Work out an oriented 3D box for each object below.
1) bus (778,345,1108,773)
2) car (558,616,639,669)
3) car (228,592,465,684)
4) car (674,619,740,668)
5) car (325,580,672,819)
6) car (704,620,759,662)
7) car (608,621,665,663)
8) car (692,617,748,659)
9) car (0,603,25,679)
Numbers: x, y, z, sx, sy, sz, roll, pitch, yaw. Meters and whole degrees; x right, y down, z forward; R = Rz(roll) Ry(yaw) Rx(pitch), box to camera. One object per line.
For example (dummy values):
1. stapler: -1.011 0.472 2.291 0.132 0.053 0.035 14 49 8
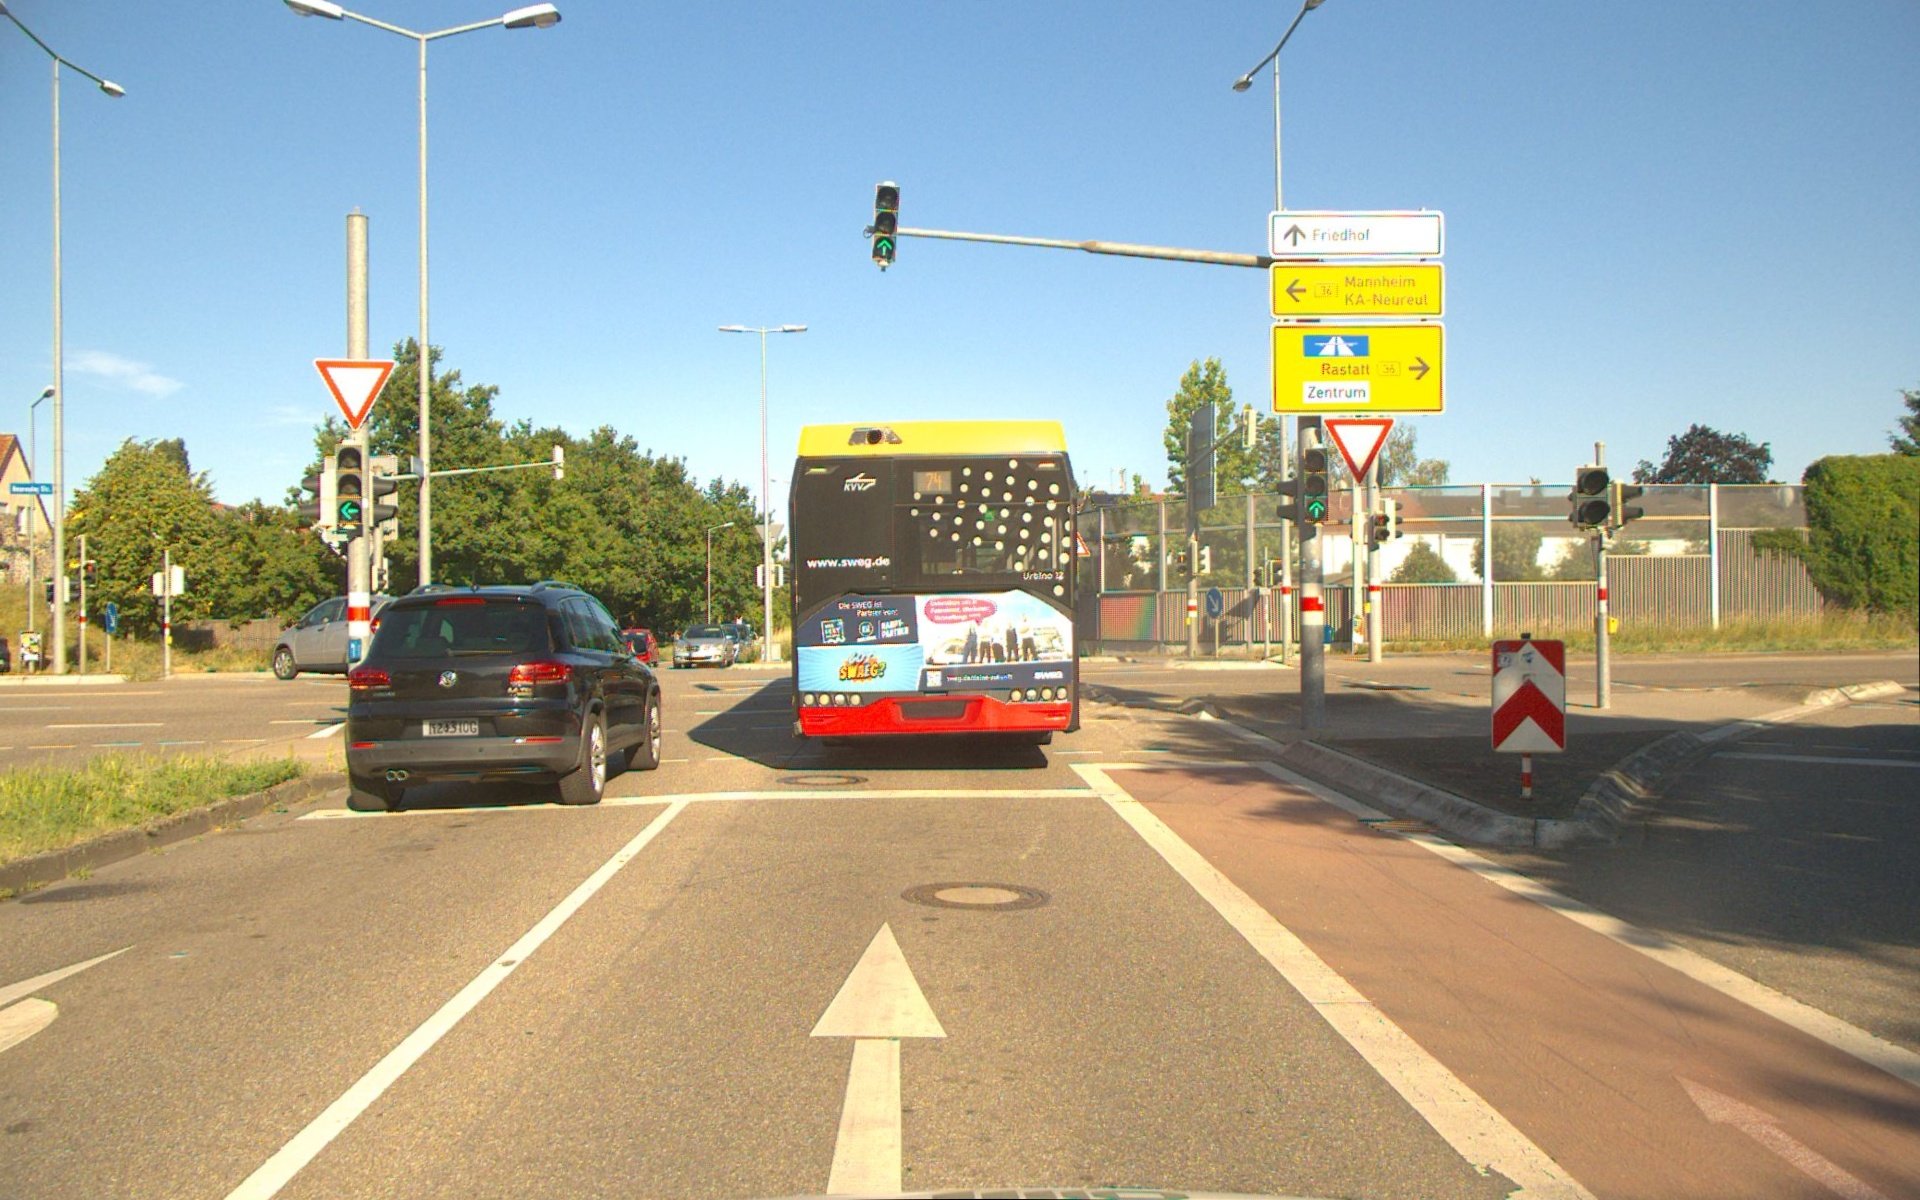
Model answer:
1. bus: -0.422 -0.327 19.960 2.702 3.519 12.391 1 0 -3
2. car: -12.207 1.419 56.078 1.954 1.673 4.527 -1 -1 -3
3. car: -11.962 0.696 32.212 4.321 1.644 2.044 0 1 30
4. car: -8.511 1.457 55.985 1.758 1.532 4.527 -1 -1 -3
5. car: -3.574 0.701 13.567 1.790 1.656 3.999 0 0 -1
6. car: -9.461 1.690 68.766 1.954 1.644 4.526 -1 -1 -4
7. car: -12.275 1.586 62.994 1.612 1.509 3.710 -1 -1 -3
8. car: -8.966 1.411 62.026 1.712 1.509 3.885 -1 -1 -3
9. car: -22.876 0.916 35.572 4.317 1.644 2.046 -1 0 -5
